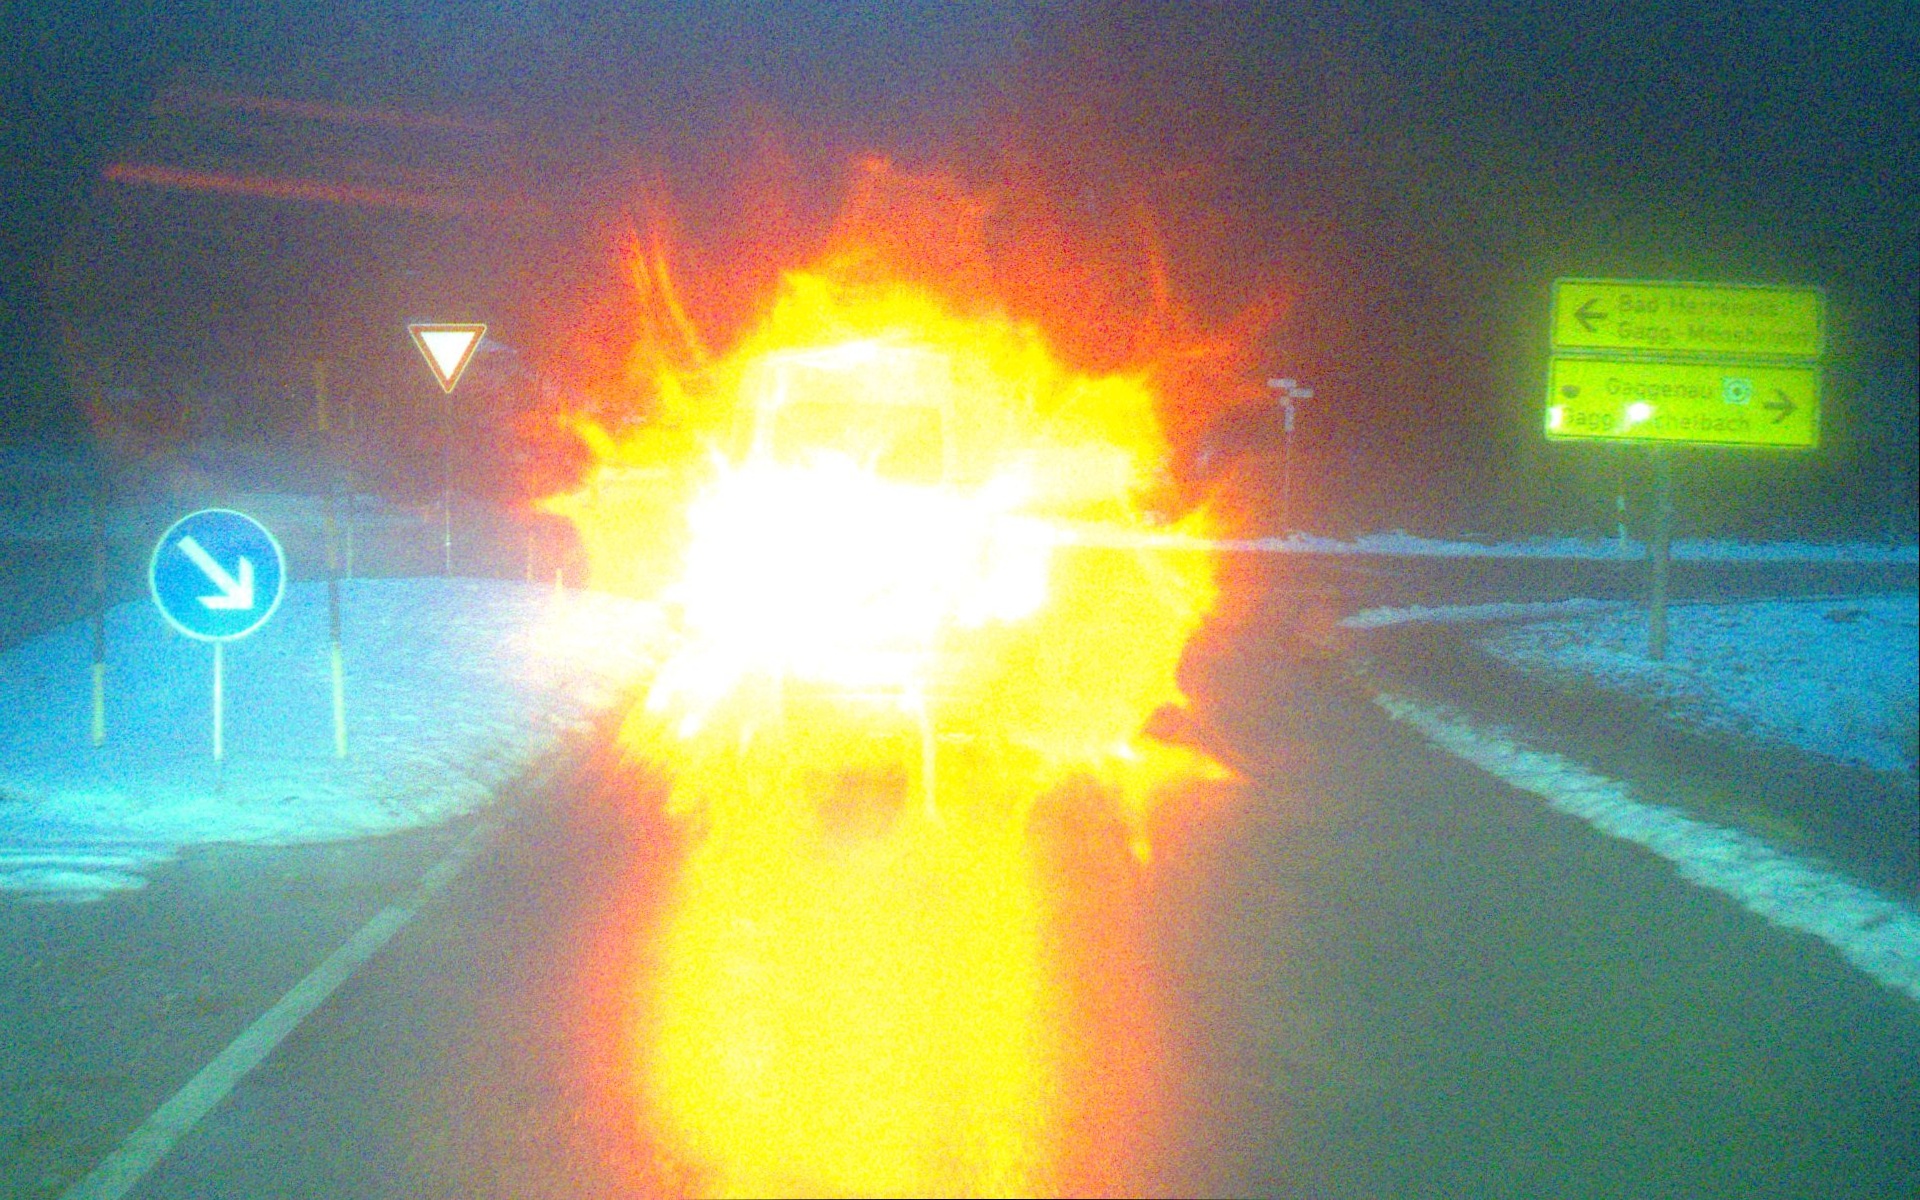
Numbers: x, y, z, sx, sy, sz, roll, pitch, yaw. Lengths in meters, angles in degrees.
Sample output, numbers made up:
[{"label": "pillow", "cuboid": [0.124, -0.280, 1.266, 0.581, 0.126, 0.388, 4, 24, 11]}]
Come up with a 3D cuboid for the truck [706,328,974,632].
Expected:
[{"label": "truck", "cuboid": [-1.298, -1.184, 34.423, 2.075, 2.736, 5.321, 2, 1, -8]}]

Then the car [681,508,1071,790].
[{"label": "car", "cuboid": [-0.483, 0.195, 19.275, 1.922, 1.272, 4.001, 2, 3, -2]}]
